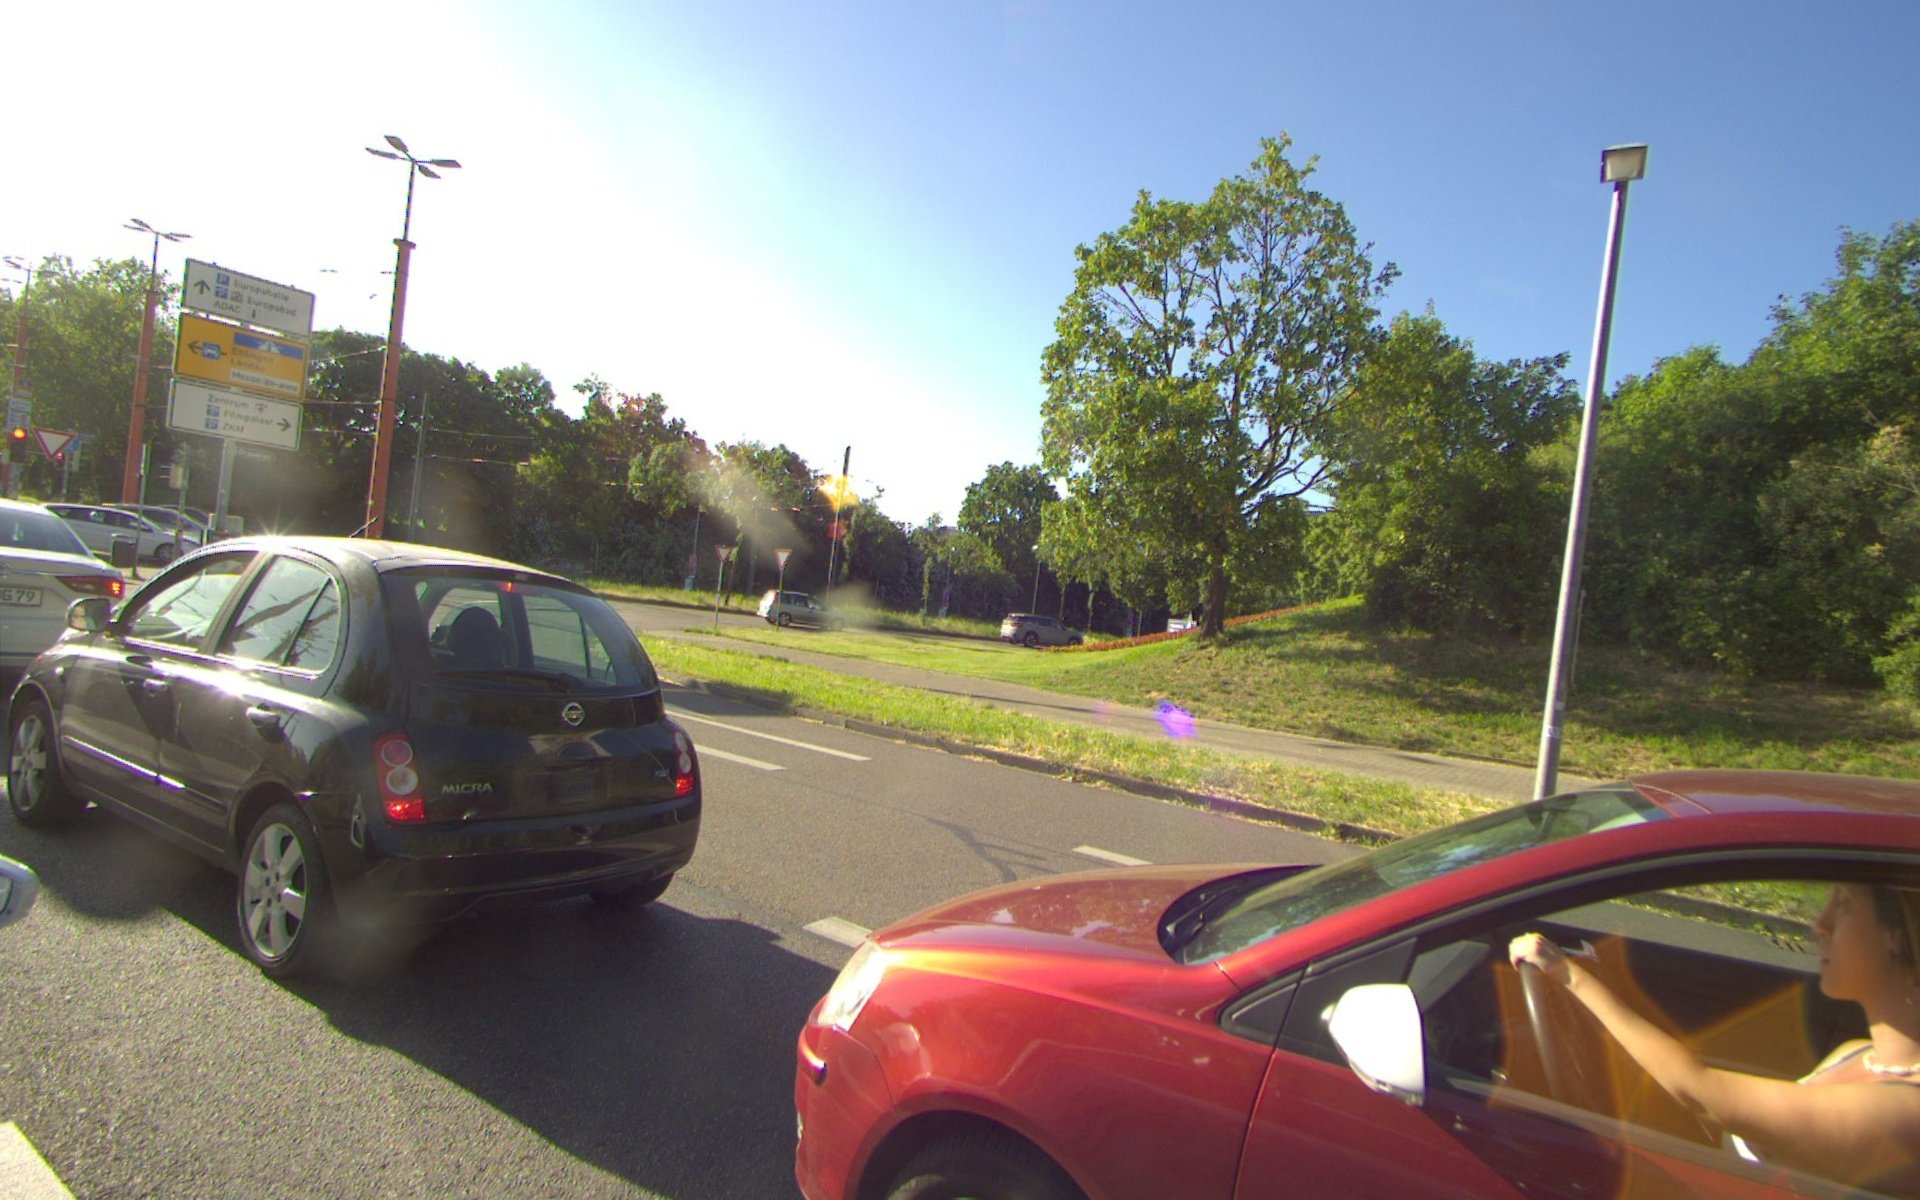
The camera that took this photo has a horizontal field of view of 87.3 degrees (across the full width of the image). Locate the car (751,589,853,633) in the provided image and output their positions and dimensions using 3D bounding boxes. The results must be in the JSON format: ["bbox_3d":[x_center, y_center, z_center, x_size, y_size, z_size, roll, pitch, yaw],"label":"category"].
[{"bbox_3d":[-6.712,0.482,42.769,3.817,1.371,1.709,8,-1,-31],"label":"car"}]

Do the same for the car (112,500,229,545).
[{"bbox_3d":[-40.698,-3.959,52.033,4.423,1.615,1.983,8,-1,-32],"label":"car"}]

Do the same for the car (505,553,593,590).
[{"bbox_3d":[-24.265,-1.675,59.396,4.423,1.615,1.983,8,-1,-32],"label":"car"}]

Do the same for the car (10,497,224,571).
[{"bbox_3d":[-26.010,-1.999,31.278,4.717,1.512,1.758,8,-1,-29],"label":"car"}]

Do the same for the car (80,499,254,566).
[{"bbox_3d":[-26.970,-2.265,34.426,4.318,1.600,1.758,8,-1,-30],"label":"car"}]

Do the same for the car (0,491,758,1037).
[{"bbox_3d":[-2.826,0.463,4.628,3.457,1.524,1.558,7,0,32],"label":"car"}]

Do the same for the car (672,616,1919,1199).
[{"bbox_3d":[1.366,0.990,1.897,3.634,1.434,1.624,7,-1,34],"label":"car"}]

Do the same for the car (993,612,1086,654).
[{"bbox_3d":[4.188,1.722,52.729,4.548,1.630,1.709,8,-1,-31],"label":"car"}]

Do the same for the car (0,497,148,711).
[{"bbox_3d":[-8.352,-0.164,7.981,4.077,1.472,1.717,7,-1,33],"label":"car"}]
